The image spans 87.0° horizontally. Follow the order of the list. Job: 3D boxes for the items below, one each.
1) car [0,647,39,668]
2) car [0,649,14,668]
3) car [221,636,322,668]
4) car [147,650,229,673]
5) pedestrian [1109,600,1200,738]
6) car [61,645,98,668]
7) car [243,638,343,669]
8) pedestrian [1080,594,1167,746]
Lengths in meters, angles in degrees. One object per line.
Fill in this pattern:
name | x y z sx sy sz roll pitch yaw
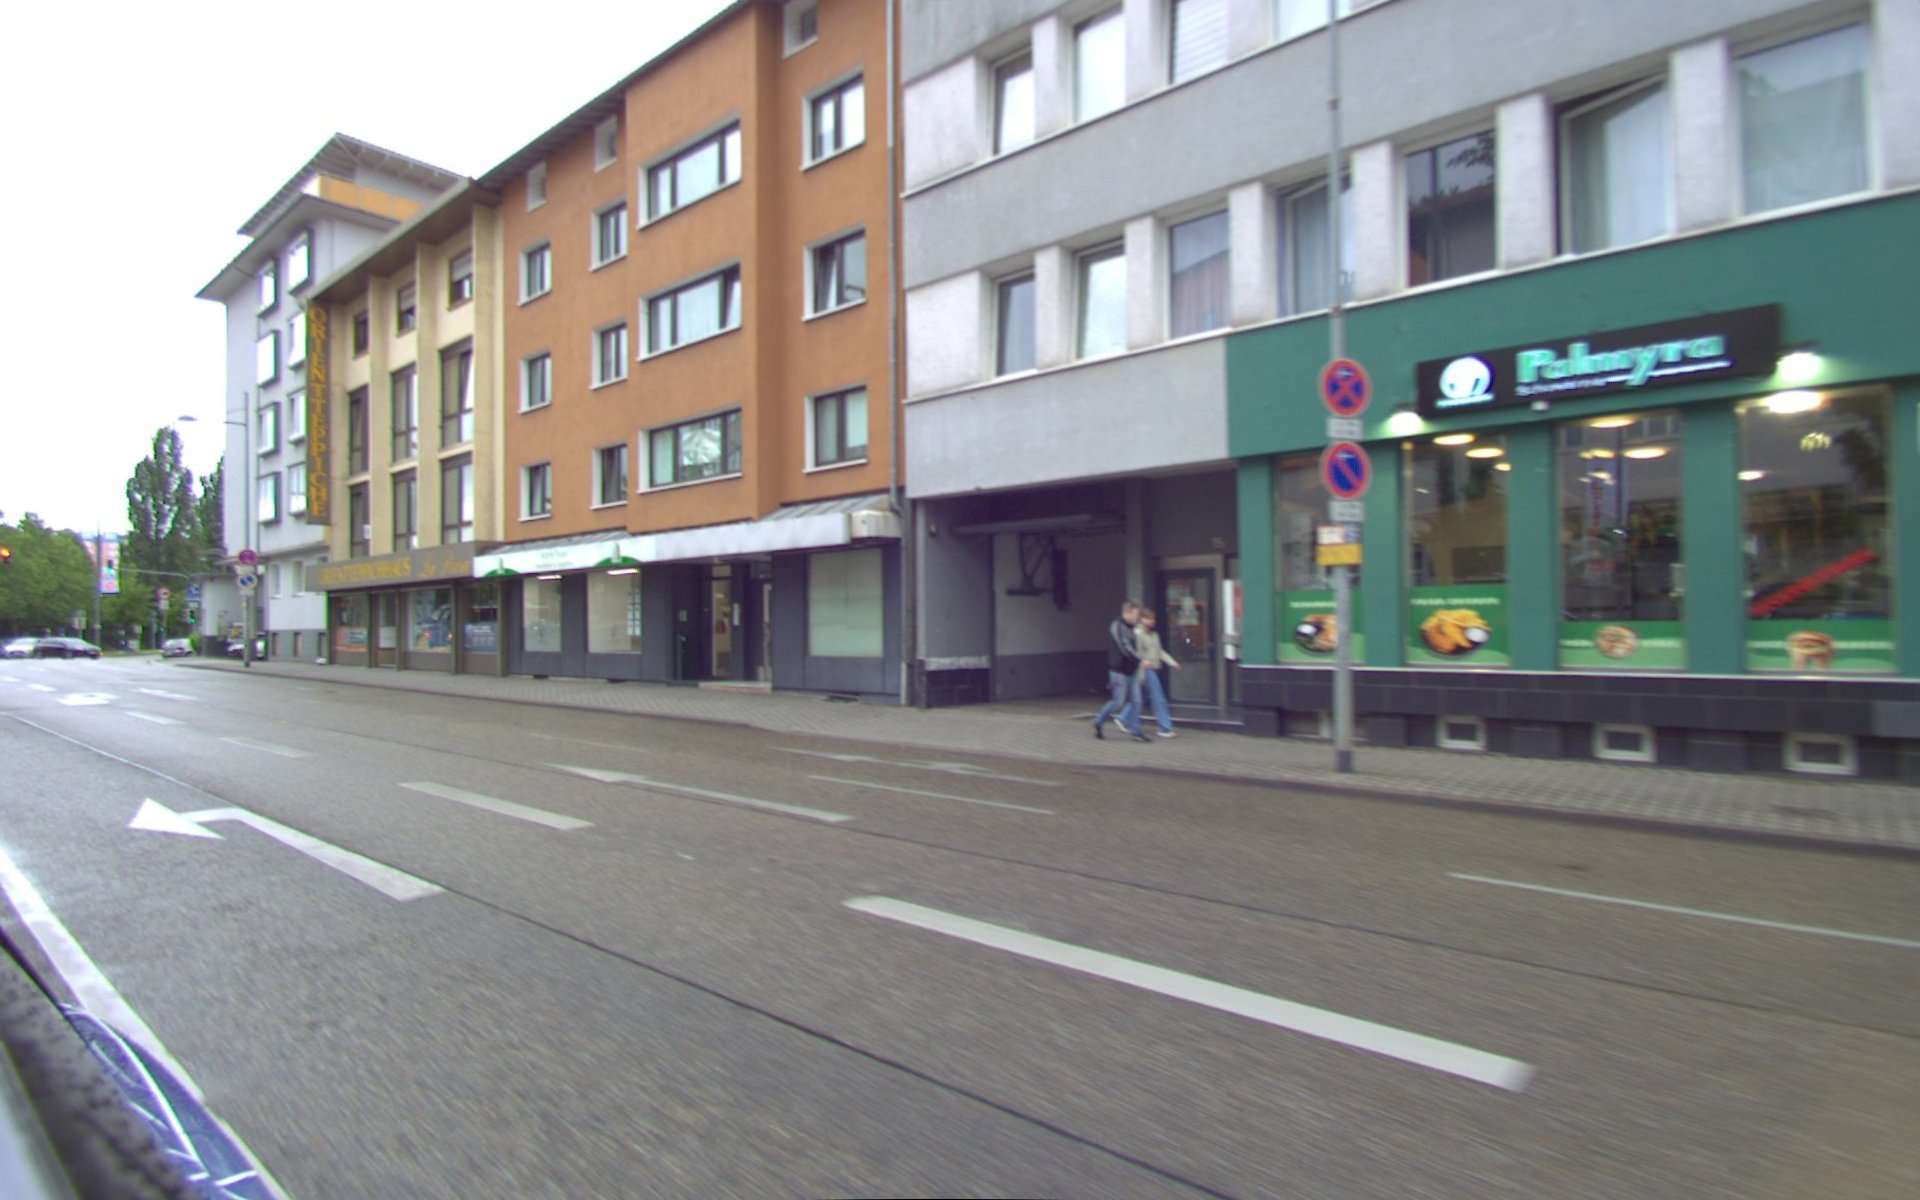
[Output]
car | -71.311 4.348 76.545 1.867 1.588 4.371 3 -4 -36
car | -99.703 6.098 102.833 4.768 1.957 1.957 -3 -1 -19
car | -34.320 2.627 50.522 1.797 1.431 3.772 0 -4 42
car | -49.048 3.913 64.392 1.715 1.377 4.098 -2 -3 9
pedestrian | 2.528 0.869 13.153 0.908 1.688 0.624 -2 2 41
car | -59.736 3.798 68.602 1.777 1.445 4.401 0 -2 -43
car | -30.957 2.489 47.040 1.494 1.348 3.586 -2 -5 39
pedestrian | 2.050 0.849 12.682 0.826 1.801 0.569 -2 2 42
